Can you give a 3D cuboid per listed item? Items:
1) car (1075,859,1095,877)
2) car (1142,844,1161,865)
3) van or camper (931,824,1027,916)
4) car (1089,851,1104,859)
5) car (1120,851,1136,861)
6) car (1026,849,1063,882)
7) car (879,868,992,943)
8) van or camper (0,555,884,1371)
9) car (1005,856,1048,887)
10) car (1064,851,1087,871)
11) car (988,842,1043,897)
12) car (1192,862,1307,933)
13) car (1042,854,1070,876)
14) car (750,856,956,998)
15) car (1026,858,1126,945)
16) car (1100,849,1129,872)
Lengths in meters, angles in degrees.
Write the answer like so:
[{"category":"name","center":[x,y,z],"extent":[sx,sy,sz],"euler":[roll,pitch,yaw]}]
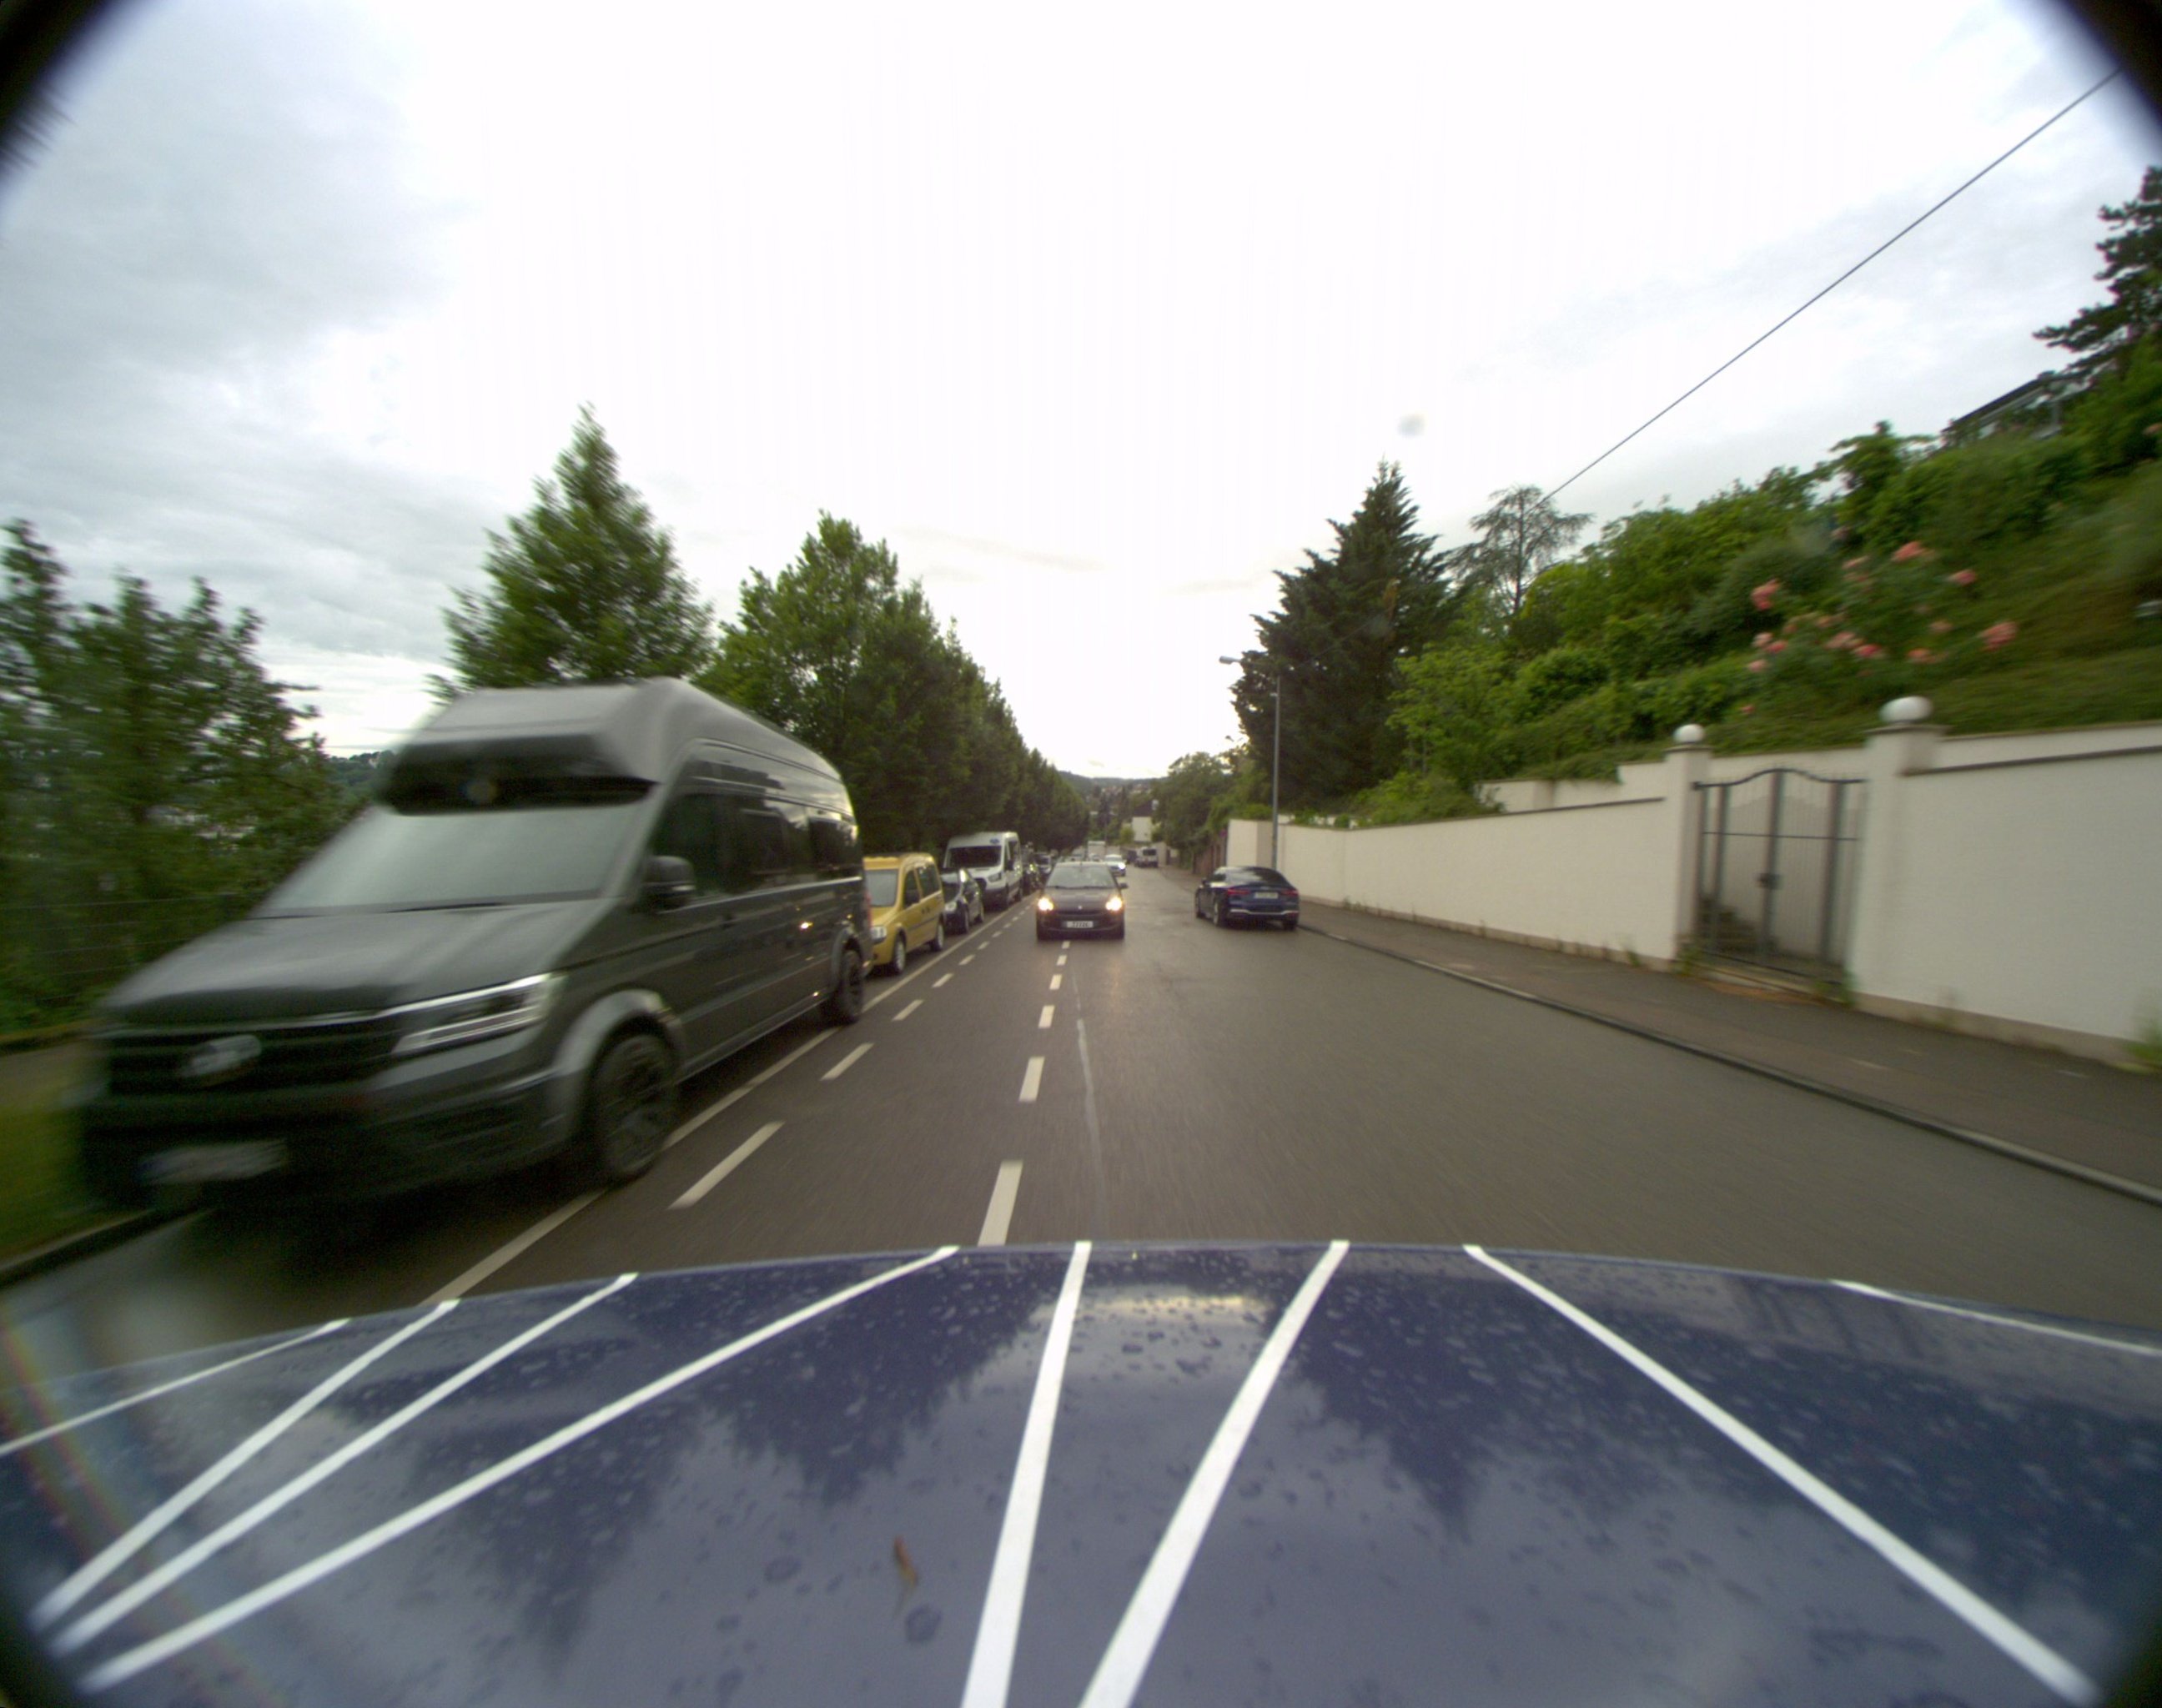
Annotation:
[{"category":"car","center":[0.411,1.382,75.539],"extent":[1.725,1.619,4.403],"euler":[-3,0,2]},{"category":"car","center":[8.439,0.047,90.940],"extent":[2.108,2.468,4.566],"euler":[1,0,5]},{"category":"van or camper","center":[-3.129,0.456,24.701],"extent":[2.170,2.540,5.615],"euler":[-3,0,1]},{"category":"car","center":[2.740,0.192,135.545],"extent":[1.852,1.489,3.763],"euler":[0,0,-12]},{"category":"car","center":[7.175,0.353,116.780],"extent":[1.851,1.489,3.765],"euler":[1,0,-5]},{"category":"car","center":[-2.133,0.652,45.649],"extent":[1.725,1.844,4.403],"euler":[-3,0,2]},{"category":"car","center":[-3.256,1.100,17.870],"extent":[1.725,1.366,4.402],"euler":[-3,0,0]},{"category":"van or camper","center":[-3.371,0.405,5.602],"extent":[2.129,2.893,5.727],"euler":[-2,0,1]},{"category":"car","center":[-2.835,0.903,40.448],"extent":[1.725,1.426,4.325],"euler":[-3,0,2]},{"category":"car","center":[-0.463,0.614,66.702],"extent":[1.725,1.619,4.403],"euler":[-3,0,2]},{"category":"car","center":[-2.736,0.599,32.782],"extent":[1.725,2.126,4.403],"euler":[-3,0,2]},{"category":"car","center":[3.886,0.940,18.252],"extent":[1.812,1.421,4.253],"euler":[1,0,0]},{"category":"car","center":[-1.817,0.799,56.090],"extent":[1.725,1.495,4.201],"euler":[-3,0,2]},{"category":"car","center":[-3.339,0.958,12.100],"extent":[1.725,1.738,4.403],"euler":[-3,0,2]},{"category":"car","center":[0.016,0.863,15.734],"extent":[1.783,1.477,4.406],"euler":[0,1,3]},{"category":"car","center":[2.683,0.517,60.441],"extent":[2.190,1.698,4.883],"euler":[1,0,3]}]
